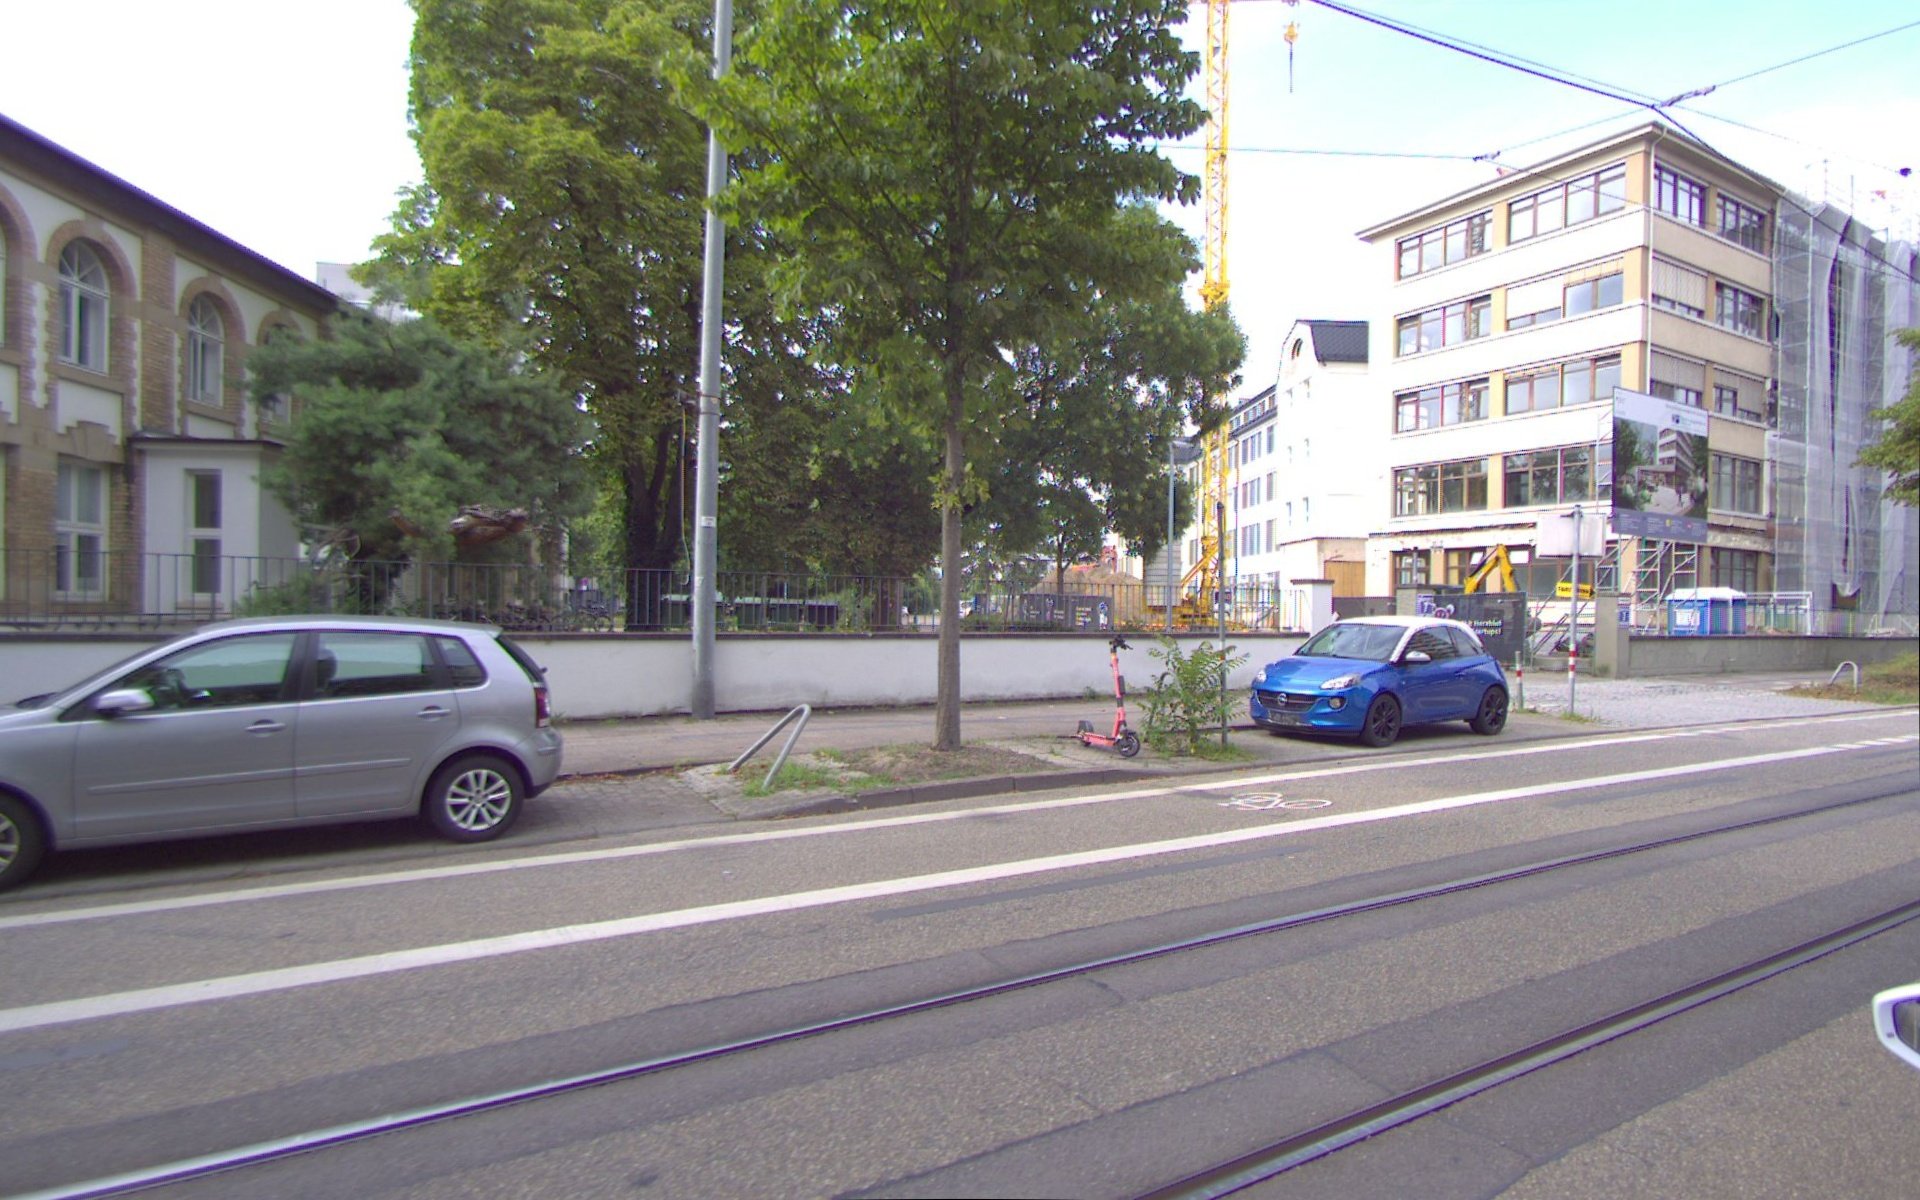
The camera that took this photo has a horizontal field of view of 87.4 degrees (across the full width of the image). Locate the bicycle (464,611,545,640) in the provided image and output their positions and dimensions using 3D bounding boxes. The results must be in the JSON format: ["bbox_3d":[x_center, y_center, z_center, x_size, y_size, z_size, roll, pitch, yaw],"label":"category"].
[{"bbox_3d":[-13.216,0.727,29.205,2.010,0.783,0.713,1,1,-11],"label":"bicycle"}]

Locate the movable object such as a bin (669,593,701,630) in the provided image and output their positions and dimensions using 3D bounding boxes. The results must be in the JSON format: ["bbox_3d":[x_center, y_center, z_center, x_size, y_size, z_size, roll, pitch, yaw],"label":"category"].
[{"bbox_3d":[-10.551,0.441,38.566,1.001,1.393,0.970,1,1,-4],"label":"movable object such as a bin"}]

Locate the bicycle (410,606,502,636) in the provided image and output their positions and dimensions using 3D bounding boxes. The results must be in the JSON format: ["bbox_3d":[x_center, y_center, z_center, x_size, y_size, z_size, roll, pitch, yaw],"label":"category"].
[{"bbox_3d":[-13.015,0.544,25.984,2.010,0.718,0.713,1,1,-11],"label":"bicycle"}]

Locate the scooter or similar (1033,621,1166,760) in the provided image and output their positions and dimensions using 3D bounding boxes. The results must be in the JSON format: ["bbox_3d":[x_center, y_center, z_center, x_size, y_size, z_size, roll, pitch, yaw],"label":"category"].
[{"bbox_3d":[1.453,0.901,10.658,0.691,1.362,1.438,1,-1,-28],"label":"scooter or similar"}]

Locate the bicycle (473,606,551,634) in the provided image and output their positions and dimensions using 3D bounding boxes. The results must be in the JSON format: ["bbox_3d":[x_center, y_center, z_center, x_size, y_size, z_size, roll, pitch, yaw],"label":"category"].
[{"bbox_3d":[-13.426,0.596,30.140,2.010,0.783,0.713,1,1,-11],"label":"bicycle"}]

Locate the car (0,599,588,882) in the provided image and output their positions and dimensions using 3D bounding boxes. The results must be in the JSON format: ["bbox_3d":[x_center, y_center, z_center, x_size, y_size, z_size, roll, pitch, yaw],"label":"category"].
[{"bbox_3d":[-4.593,0.761,6.544,3.824,1.447,1.684,1,1,-32],"label":"car"}]

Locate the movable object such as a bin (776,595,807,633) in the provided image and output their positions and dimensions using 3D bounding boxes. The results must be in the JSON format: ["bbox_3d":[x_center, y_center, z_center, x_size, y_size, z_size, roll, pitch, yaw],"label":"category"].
[{"bbox_3d":[-6.489,0.529,38.739,1.073,1.393,0.861,1,1,-4],"label":"movable object such as a bin"}]

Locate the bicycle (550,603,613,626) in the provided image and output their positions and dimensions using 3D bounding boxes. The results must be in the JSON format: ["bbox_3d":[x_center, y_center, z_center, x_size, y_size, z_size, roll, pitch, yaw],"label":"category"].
[{"bbox_3d":[-13.591,0.526,36.117,2.010,0.783,0.713,1,1,-11],"label":"bicycle"}]

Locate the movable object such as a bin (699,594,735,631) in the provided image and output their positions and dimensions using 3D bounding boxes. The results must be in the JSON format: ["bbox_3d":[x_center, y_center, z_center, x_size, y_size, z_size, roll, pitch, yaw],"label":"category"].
[{"bbox_3d":[-9.329,0.468,38.595,1.181,1.393,0.970,1,1,-4],"label":"movable object such as a bin"}]

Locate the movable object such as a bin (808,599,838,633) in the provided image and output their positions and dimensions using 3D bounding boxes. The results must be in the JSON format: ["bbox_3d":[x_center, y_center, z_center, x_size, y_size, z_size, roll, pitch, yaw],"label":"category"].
[{"bbox_3d":[-5.250,0.610,38.546,1.073,1.290,0.861,1,1,-4],"label":"movable object such as a bin"}]

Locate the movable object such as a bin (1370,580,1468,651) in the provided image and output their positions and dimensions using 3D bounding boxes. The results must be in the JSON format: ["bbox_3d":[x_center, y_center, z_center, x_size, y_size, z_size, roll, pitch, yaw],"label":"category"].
[{"bbox_3d":[14.115,0.471,30.921,1.936,2.095,1.978,1,0,-28],"label":"movable object such as a bin"}]

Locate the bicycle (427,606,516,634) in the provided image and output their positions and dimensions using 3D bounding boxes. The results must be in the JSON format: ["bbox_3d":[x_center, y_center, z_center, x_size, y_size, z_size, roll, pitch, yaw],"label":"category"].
[{"bbox_3d":[-13.086,0.532,26.938,2.010,0.718,0.713,1,1,-11],"label":"bicycle"}]

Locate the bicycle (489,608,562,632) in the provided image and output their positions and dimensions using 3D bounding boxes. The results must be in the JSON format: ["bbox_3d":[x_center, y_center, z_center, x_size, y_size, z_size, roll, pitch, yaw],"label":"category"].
[{"bbox_3d":[-13.783,0.633,31.881,2.029,0.718,0.706,1,1,-38],"label":"bicycle"}]

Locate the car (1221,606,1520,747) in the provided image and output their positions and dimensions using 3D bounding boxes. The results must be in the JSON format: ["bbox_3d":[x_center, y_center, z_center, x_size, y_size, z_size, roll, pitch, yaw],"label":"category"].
[{"bbox_3d":[5.260,0.880,12.793,3.636,1.507,1.684,1,1,-32],"label":"car"}]

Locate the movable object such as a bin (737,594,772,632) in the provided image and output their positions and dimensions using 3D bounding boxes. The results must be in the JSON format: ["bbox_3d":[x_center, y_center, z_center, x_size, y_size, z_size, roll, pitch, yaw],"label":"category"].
[{"bbox_3d":[-7.912,0.498,38.755,1.181,1.393,0.861,1,1,-4],"label":"movable object such as a bin"}]
